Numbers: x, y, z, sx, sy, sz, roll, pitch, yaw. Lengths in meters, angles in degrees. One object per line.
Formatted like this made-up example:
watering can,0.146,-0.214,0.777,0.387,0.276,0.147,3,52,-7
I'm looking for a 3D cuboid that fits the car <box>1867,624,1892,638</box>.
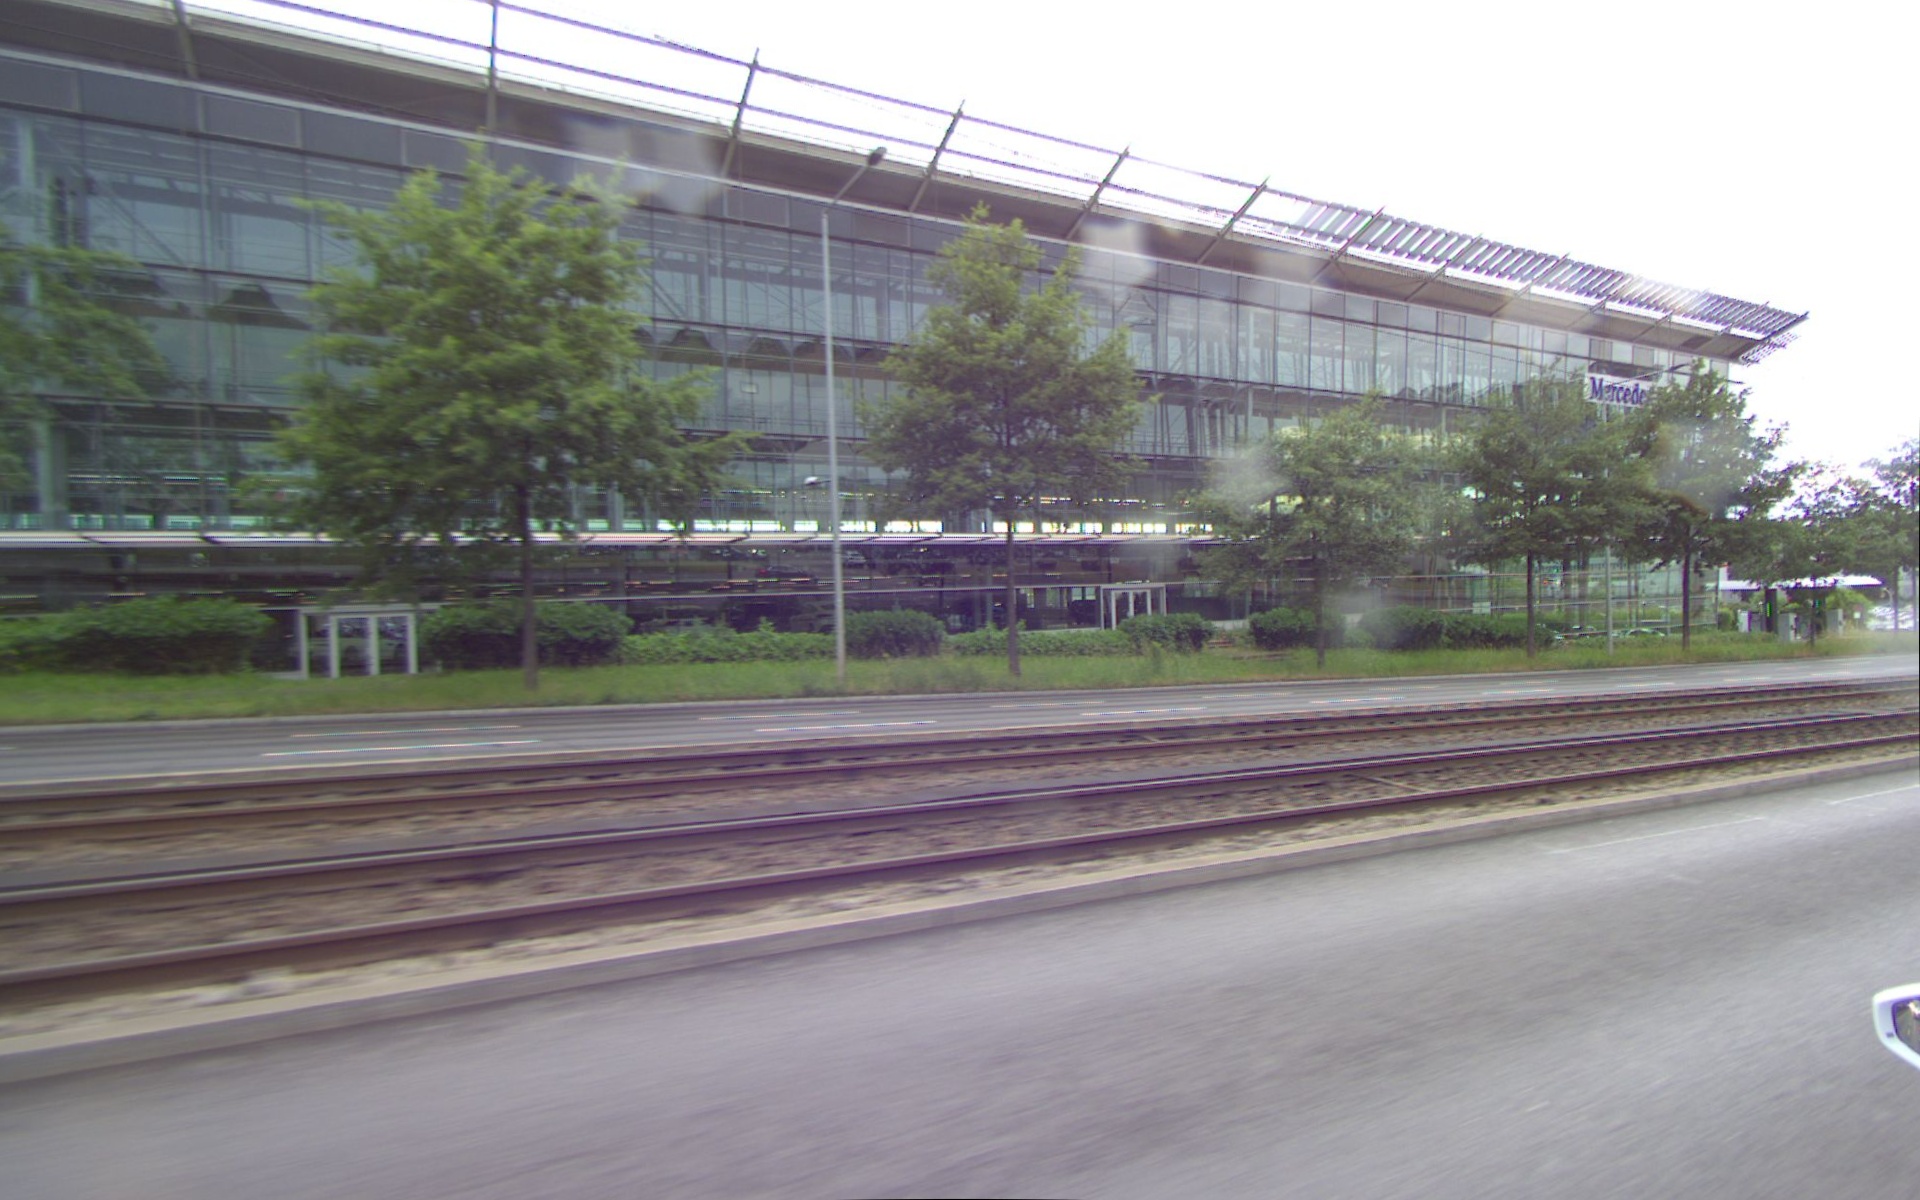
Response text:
car,102.090,3.456,111.552,1.730,1.514,3.983,2,0,39
